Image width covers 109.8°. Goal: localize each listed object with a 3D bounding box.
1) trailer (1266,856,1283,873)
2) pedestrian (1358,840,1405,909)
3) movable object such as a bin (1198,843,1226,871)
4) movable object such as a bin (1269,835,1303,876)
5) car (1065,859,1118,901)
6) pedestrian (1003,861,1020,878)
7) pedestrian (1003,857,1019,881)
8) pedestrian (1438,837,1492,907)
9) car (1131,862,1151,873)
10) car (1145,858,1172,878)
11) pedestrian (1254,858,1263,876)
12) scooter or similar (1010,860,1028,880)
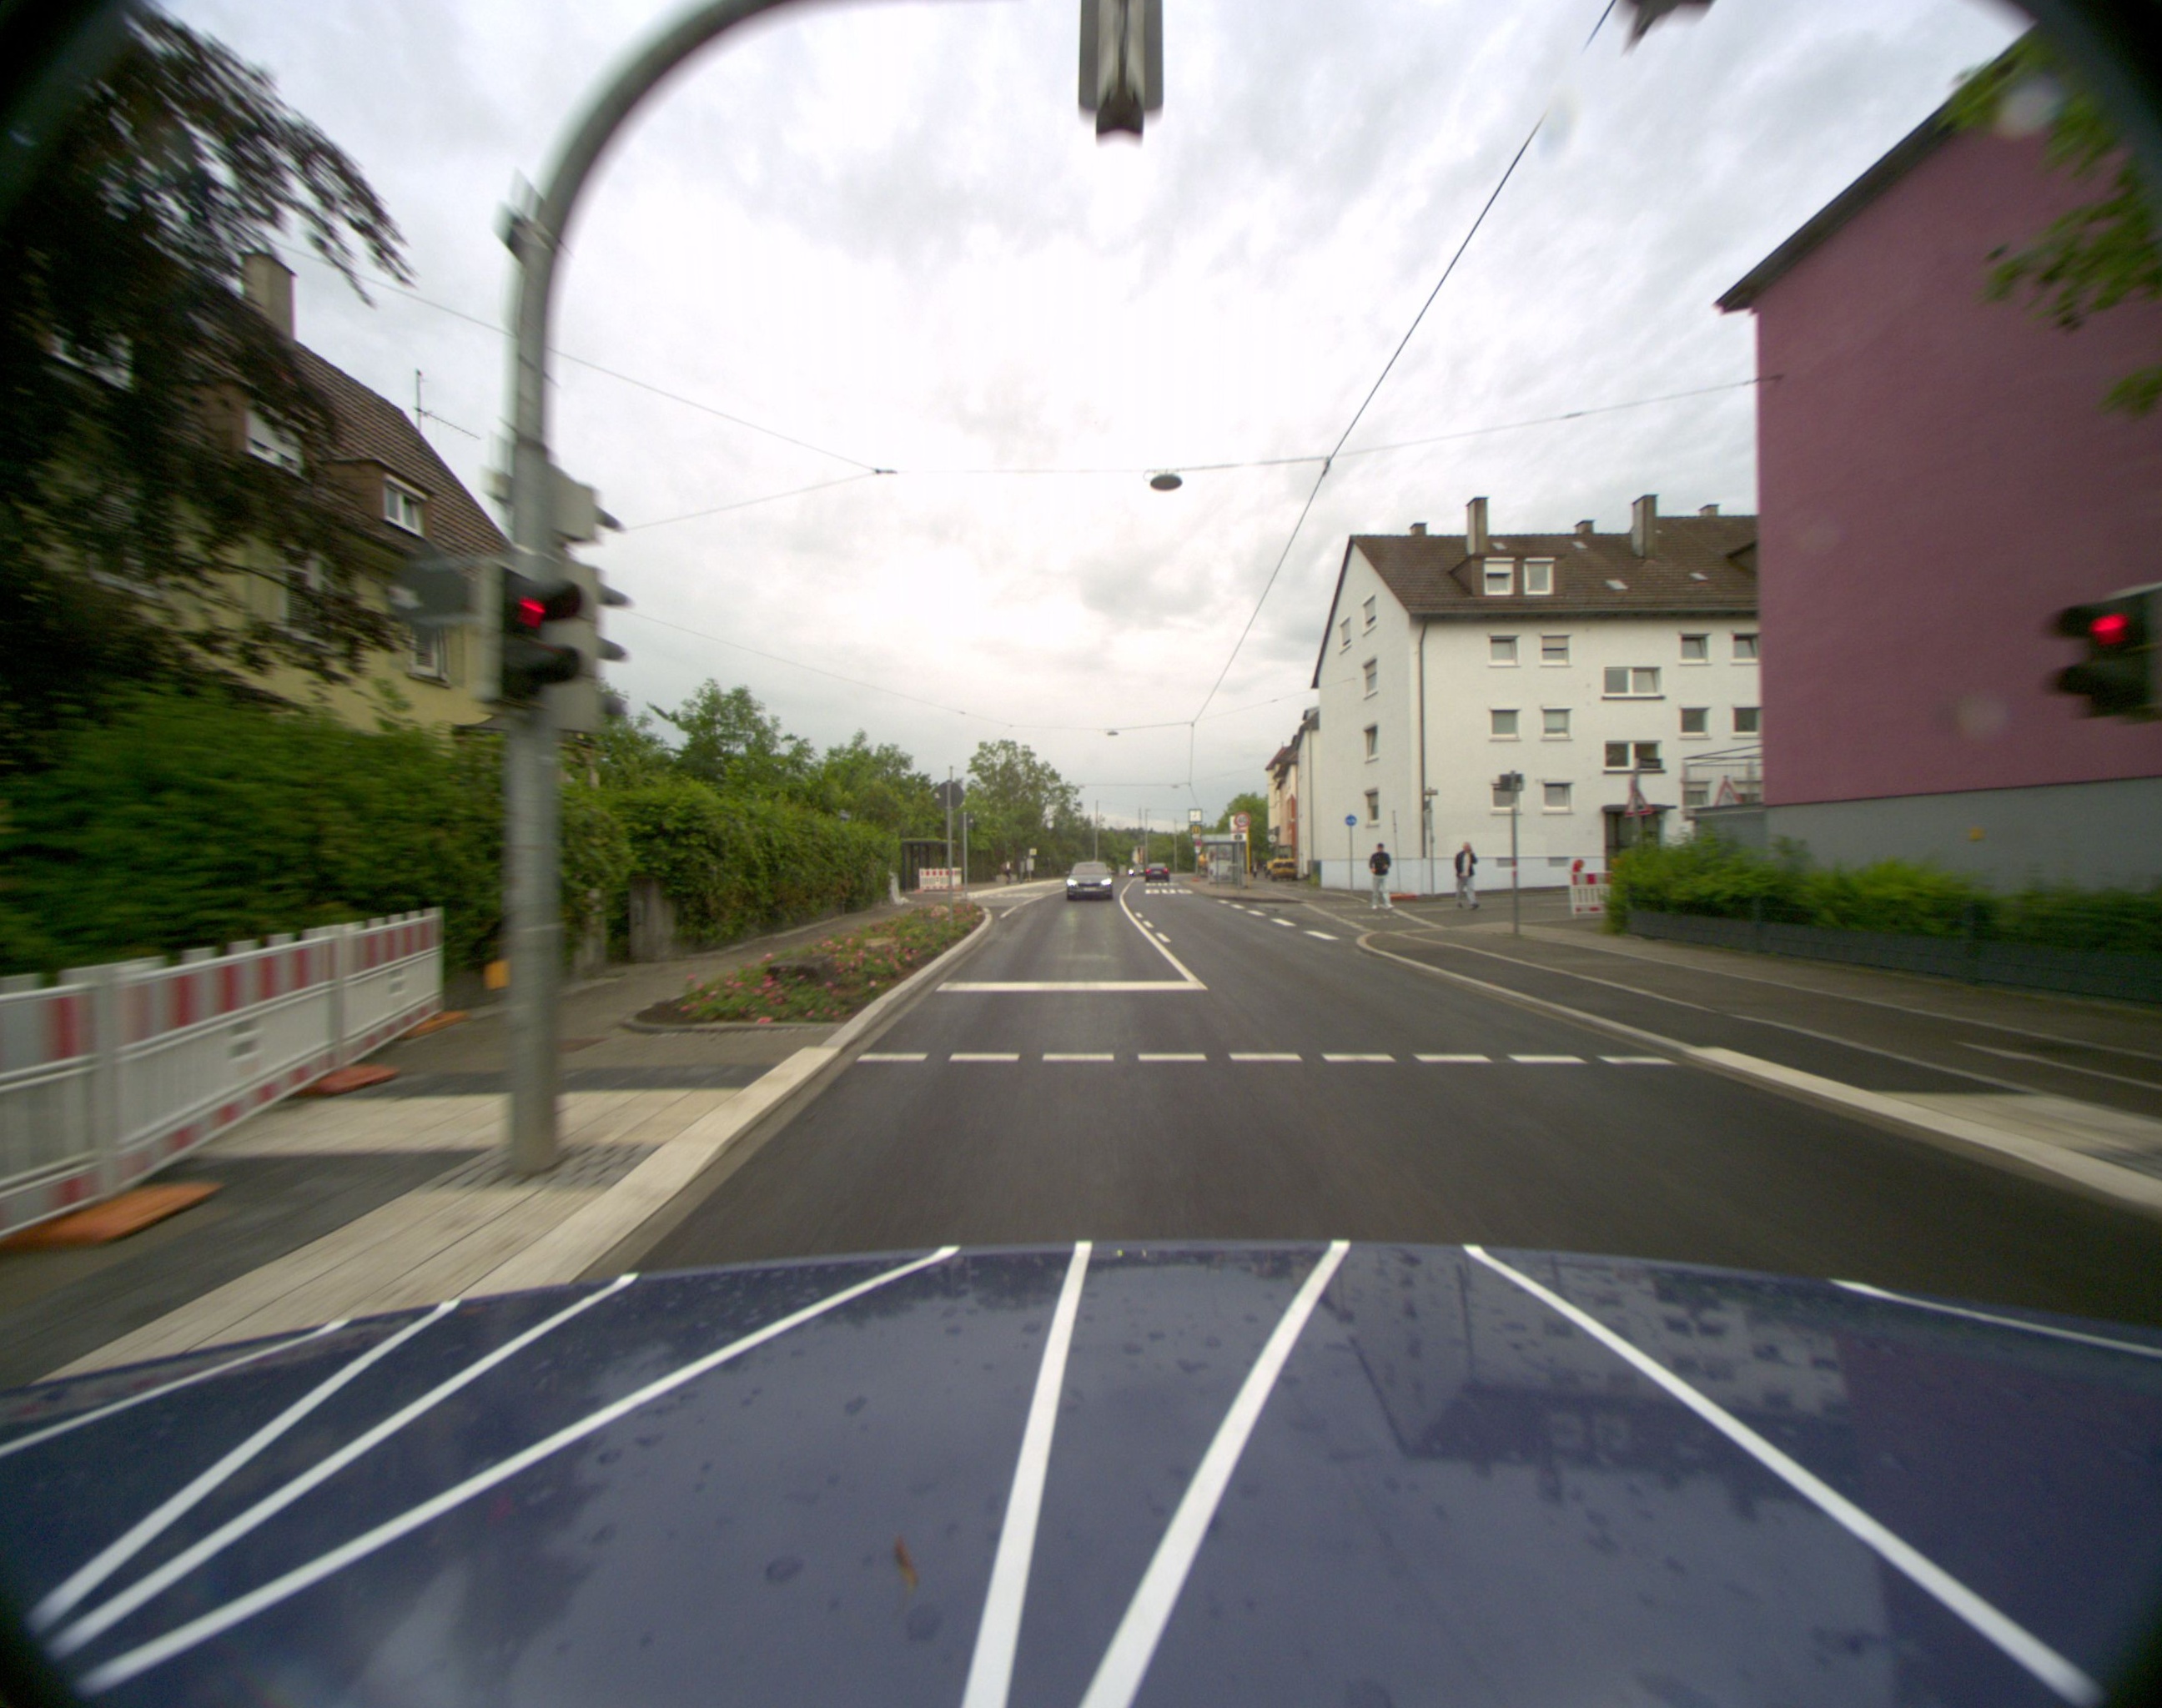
[{"bbox_3d":[17.039,0.890,67.066,1.326,1.390,4.000,-2,-1,13],"label":"trailer"},{"bbox_3d":[8.438,0.578,21.362,0.864,1.871,1.044,-1,0,-1],"label":"pedestrian"},{"bbox_3d":[15.098,0.380,87.405,2.828,3.094,4.639,-1,-1,13],"label":"movable object such as a bin"},{"bbox_3d":[14.932,0.129,55.433,2.132,2.790,4.984,-3,-1,15],"label":"movable object such as a bin"},{"bbox_3d":[0.431,0.964,29.299,1.837,1.429,4.001,-2,-1,1],"label":"car"},{"bbox_3d":[-5.505,1.210,60.366,1.070,1.322,0.808,-1,0,-31],"label":"pedestrian"},{"bbox_3d":[-4.721,1.001,51.203,0.922,1.537,0.543,-1,1,-31],"label":"pedestrian"},{"bbox_3d":[10.323,0.484,20.464,0.808,1.810,1.116,-2,0,0],"label":"pedestrian"},{"bbox_3d":[7.443,1.615,93.523,1.604,1.294,3.718,-3,-1,18],"label":"car"},{"bbox_3d":[6.130,1.058,59.588,1.786,1.444,4.393,-1,0,10],"label":"car"},{"bbox_3d":[15.409,1.151,66.026,0.603,1.519,1.039,-3,-1,11],"label":"pedestrian"},{"bbox_3d":[-4.175,1.097,51.258,1.245,1.307,0.231,-1,0,-34],"label":"scooter or similar"}]
